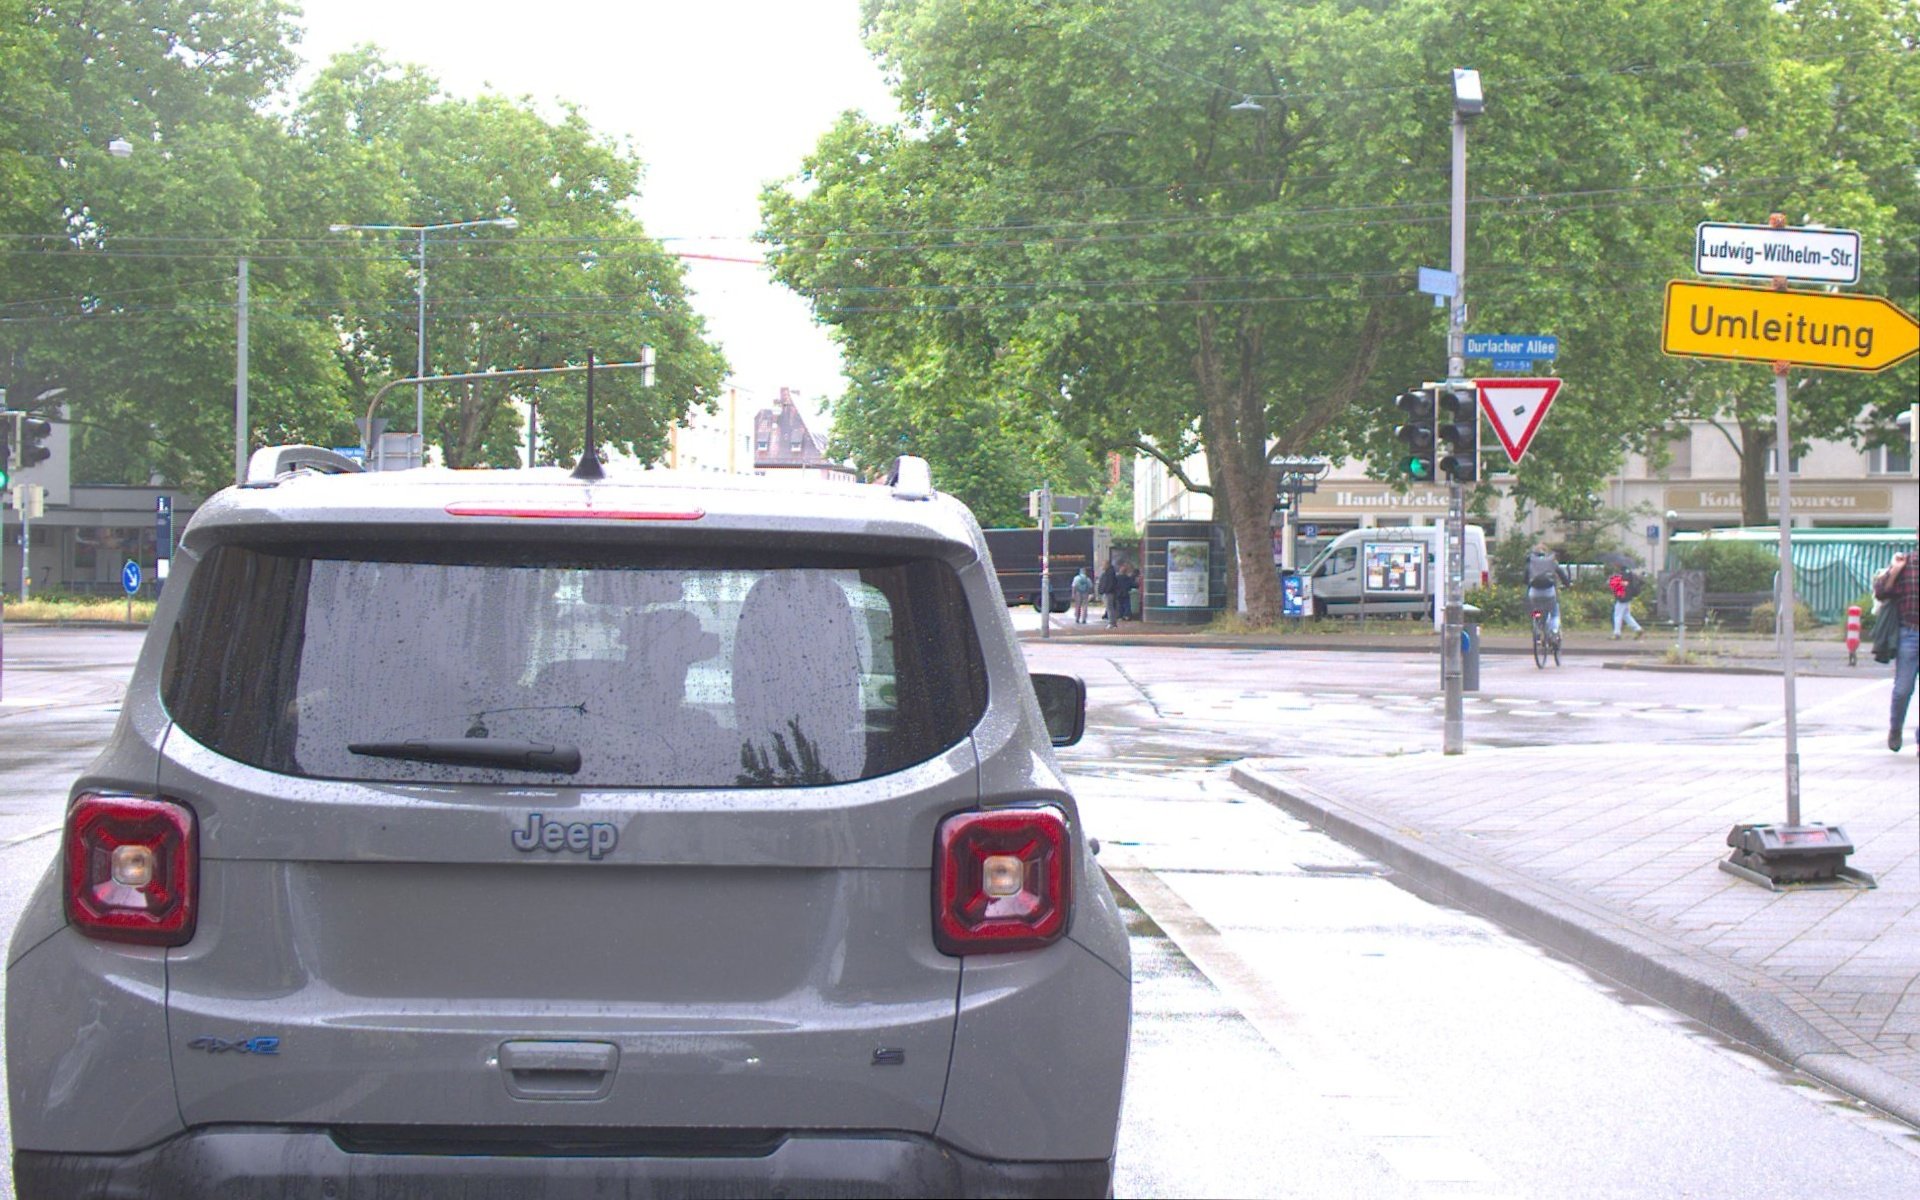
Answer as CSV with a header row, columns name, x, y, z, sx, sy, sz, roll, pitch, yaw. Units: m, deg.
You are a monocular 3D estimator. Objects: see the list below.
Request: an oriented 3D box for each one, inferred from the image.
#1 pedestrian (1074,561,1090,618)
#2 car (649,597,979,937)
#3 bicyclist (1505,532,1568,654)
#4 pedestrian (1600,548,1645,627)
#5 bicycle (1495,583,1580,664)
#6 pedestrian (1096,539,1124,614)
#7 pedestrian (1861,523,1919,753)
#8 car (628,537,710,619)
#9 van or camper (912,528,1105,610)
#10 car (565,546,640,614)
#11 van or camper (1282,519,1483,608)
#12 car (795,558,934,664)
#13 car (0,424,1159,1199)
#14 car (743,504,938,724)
name,x,y,z,sx,sy,sz,roll,pitch,yaw
pedestrian,3.635,-0.327,102.510,0.458,1.698,0.424,0,1,0
car,-0.639,0.695,15.960,1.363,1.371,3.312,0,1,-1
bicyclist,7.718,-0.100,45.987,0.687,1.612,0.883,0,1,19
pedestrian,13.218,-0.249,68.572,0.674,1.548,0.760,1,-1,27
bicycle,7.761,0.298,46.113,0.692,1.018,2.655,0,1,19
pedestrian,3.990,-0.627,91.548,0.651,2.007,0.482,1,1,12
pedestrian,7.400,0.283,26.654,0.786,1.753,0.945,0,1,14
car,-6.381,-0.493,75.442,1.721,1.733,3.730,0,1,-5
van or camper,1.739,-1.124,124.030,6.536,2.902,2.491,0,1,26
car,-8.944,-0.523,86.177,1.813,1.665,3.921,0,1,-5
van or camper,11.488,-1.016,93.722,5.259,2.307,2.090,1,1,3
car,-1.142,0.108,42.369,1.593,1.247,3.575,0,1,0
car,-0.667,0.568,6.832,1.775,1.681,3.848,-1,1,-2
car,-1.138,0.098,33.493,1.770,2.007,4.000,0,1,-1
